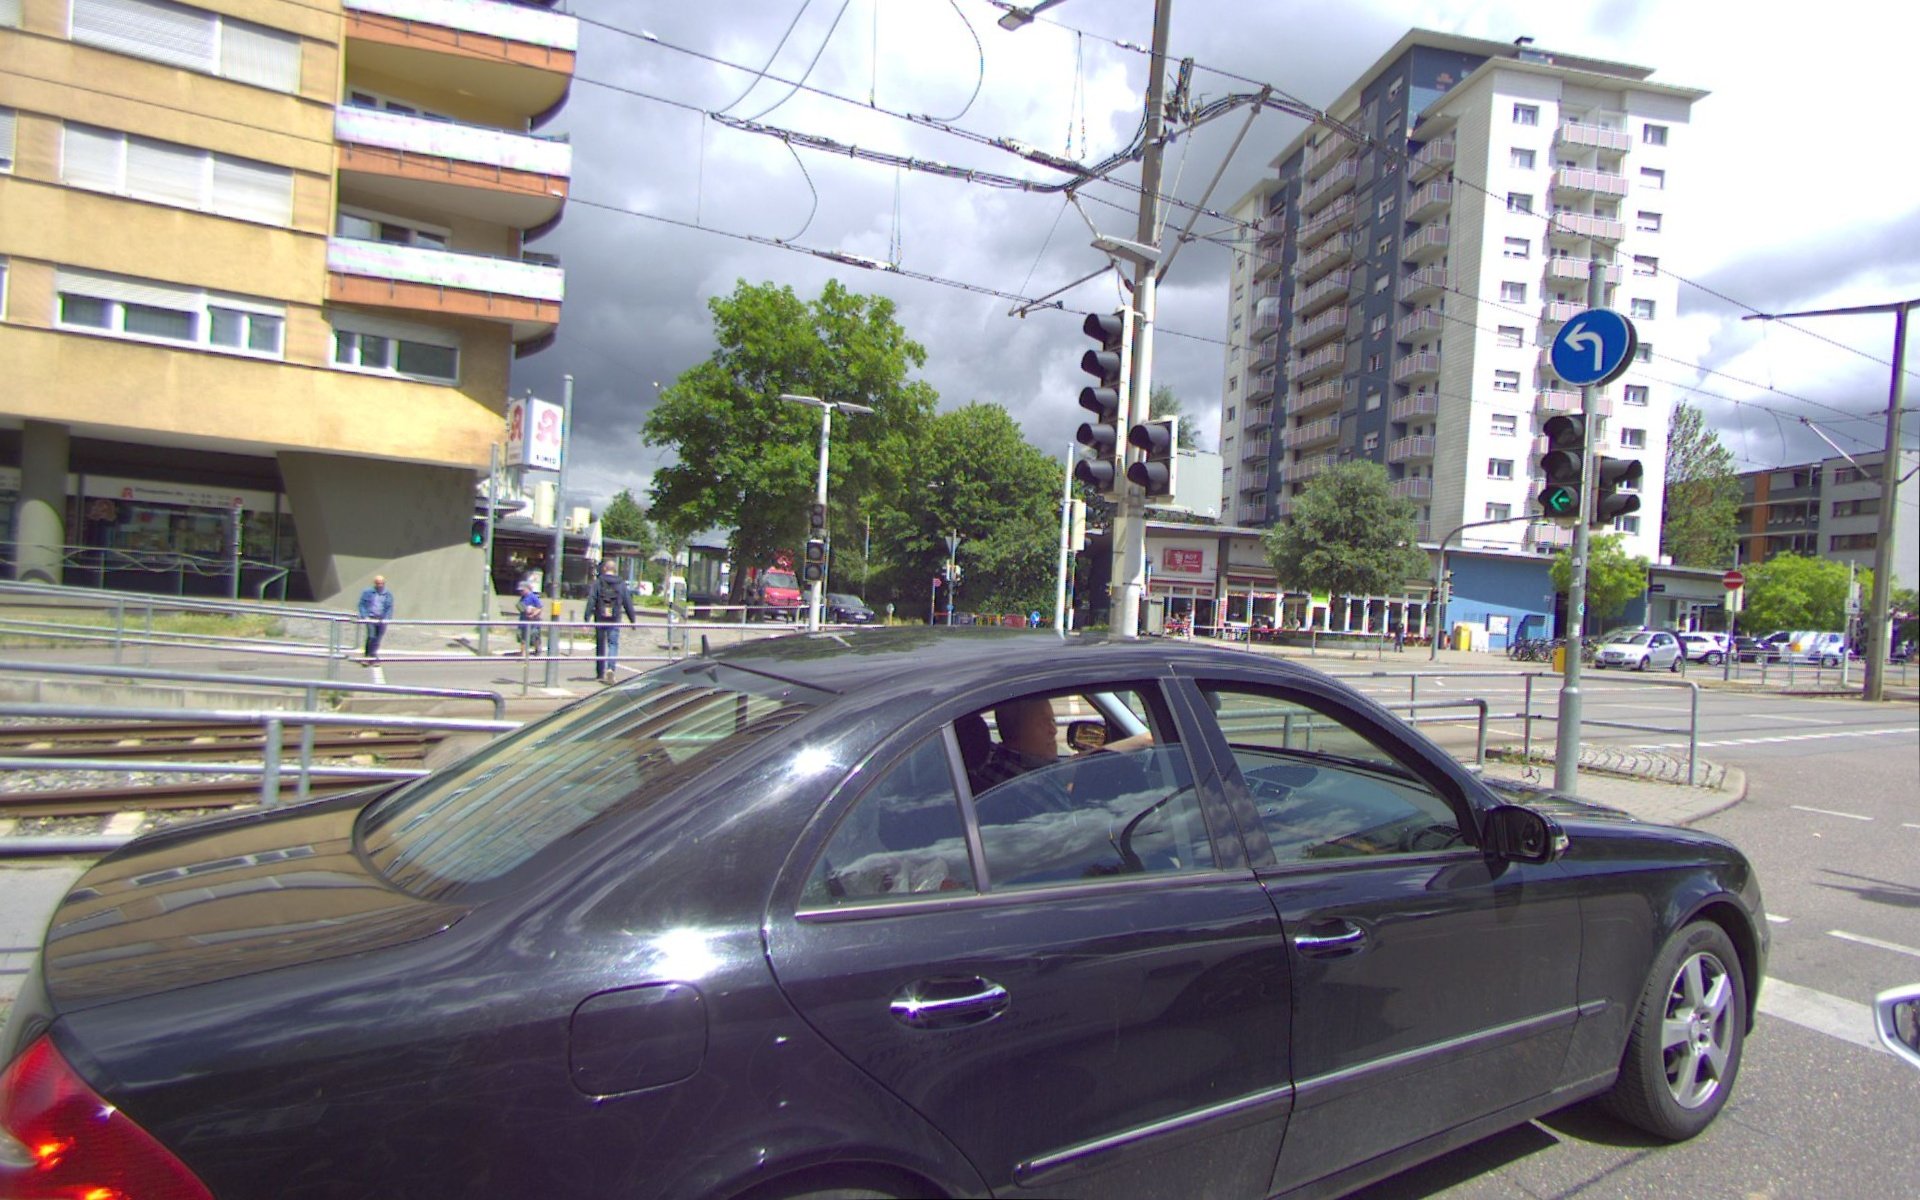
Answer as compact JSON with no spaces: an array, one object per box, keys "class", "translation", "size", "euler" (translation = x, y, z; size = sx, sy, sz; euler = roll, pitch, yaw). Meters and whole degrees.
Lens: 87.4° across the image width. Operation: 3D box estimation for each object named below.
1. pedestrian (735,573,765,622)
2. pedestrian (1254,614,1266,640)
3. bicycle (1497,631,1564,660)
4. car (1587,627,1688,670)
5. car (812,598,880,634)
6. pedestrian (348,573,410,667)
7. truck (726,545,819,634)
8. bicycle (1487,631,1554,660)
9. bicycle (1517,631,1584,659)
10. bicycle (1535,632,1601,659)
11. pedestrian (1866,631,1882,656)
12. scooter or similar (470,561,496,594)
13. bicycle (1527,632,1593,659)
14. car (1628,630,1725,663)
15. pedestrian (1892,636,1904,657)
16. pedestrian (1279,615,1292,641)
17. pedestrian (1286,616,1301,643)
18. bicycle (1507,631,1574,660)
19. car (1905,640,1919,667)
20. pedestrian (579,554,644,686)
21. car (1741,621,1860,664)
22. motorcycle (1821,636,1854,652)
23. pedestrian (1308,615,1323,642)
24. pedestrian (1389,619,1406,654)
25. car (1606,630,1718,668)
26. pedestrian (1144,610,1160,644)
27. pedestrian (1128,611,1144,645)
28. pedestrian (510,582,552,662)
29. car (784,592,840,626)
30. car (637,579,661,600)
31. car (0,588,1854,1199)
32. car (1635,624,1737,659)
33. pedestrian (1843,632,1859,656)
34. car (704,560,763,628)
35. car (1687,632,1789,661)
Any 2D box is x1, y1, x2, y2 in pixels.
[{"class":"pedestrian","translation":[-8.024,-0.108,38.375],"size":[0.873,1.835,0.641],"euler":[2,0,33]},{"class":"pedestrian","translation":[17.348,1.559,58.093],"size":[0.515,1.492,0.572],"euler":[2,0,1]},{"class":"bicycle","translation":[24.051,1.900,42.404],"size":[0.697,1.080,2.415],"euler":[2,0,-30]},{"class":"car","translation":[26.841,1.917,39.795],"size":[3.708,1.553,1.811],"euler":[2,0,-28]},{"class":"car","translation":[-5.306,0.721,46.174],"size":[1.972,1.514,3.976],"euler":[2,0,-24]},{"class":"pedestrian","translation":[-10.679,0.363,18.449],"size":[0.902,1.619,0.714],"euler":[2,5,-34]},{"class":"truck","translation":[-8.805,-0.460,46.509],"size":[2.512,3.723,7.057],"euler":[2,0,-24]},{"class":"bicycle","translation":[23.431,1.878,42.033],"size":[0.697,1.080,2.415],"euler":[2,0,-30]},{"class":"bicycle","translation":[25.443,1.948,43.322],"size":[0.697,1.080,2.415],"euler":[2,0,-30]},{"class":"bicycle","translation":[26.698,1.992,44.139],"size":[0.697,1.080,2.415],"euler":[2,0,-30]},{"class":"pedestrian","translation":[65.560,3.113,72.026],"size":[0.834,1.816,0.607],"euler":[2,0,-33]},{"class":"scooter or similar","translation":[-16.772,-0.780,35.295],"size":[0.540,1.108,1.736],"euler":[2,0,-34]},{"class":"bicycle","translation":[26.072,1.970,43.717],"size":[0.697,1.080,2.415],"euler":[2,0,-30]},{"class":"car","translation":[36.732,2.358,51.595],"size":[3.691,1.516,1.747],"euler":[2,0,18]},{"class":"pedestrian","translation":[70.477,3.487,75.455],"size":[0.490,1.479,0.559],"euler":[2,0,30]},{"class":"pedestrian","translation":[18.888,1.621,58.269],"size":[0.516,1.492,0.572],"euler":[2,0,-2]},{"class":"pedestrian","translation":[18.864,1.657,56.866],"size":[0.565,1.492,0.522],"euler":[2,0,-28]},{"class":"bicycle","translation":[24.725,1.923,42.816],"size":[0.697,1.080,2.415],"euler":[2,0,-30]},{"class":"car","translation":[64.162,3.570,66.140],"size":[4.058,1.685,1.980],"euler":[2,2,-35]},{"class":"pedestrian","translation":[-5.356,0.303,15.433],"size":[0.841,1.960,0.916],"euler":[2,0,-23]},{"class":"car","translation":[47.014,2.345,56.314],"size":[4.666,2.185,1.907],"euler":[2,0,17]},{"class":"motorcycle","translation":[70.980,3.568,81.229],"size":[0.734,1.194,1.880],"euler":[2,0,-34]},{"class":"pedestrian","translation":[20.175,1.638,57.053],"size":[0.565,1.492,0.522],"euler":[2,0,-28]},{"class":"pedestrian","translation":[20.940,1.754,48.075],"size":[0.594,1.665,0.414],"euler":[2,0,-34]},{"class":"car","translation":[33.857,2.330,48.541],"size":[3.919,1.612,1.934],"euler":[2,0,11]},{"class":"pedestrian","translation":[8.405,1.173,43.919],"size":[0.516,1.492,0.518],"euler":[2,0,-5]},{"class":"pedestrian","translation":[7.803,1.250,44.491],"size":[0.516,1.492,0.572],"euler":[2,0,-5]},{"class":"pedestrian","translation":[-8.528,0.433,19.965],"size":[0.641,1.534,0.715],"euler":[2,2,-30]},{"class":"car","translation":[-7.778,0.450,52.561],"size":[1.971,1.623,3.979],"euler":[2,0,-22]},{"class":"car","translation":[-33.426,-1.111,107.929],"size":[1.971,2.124,4.712],"euler":[2,0,-22]},{"class":"car","translation":[0.322,0.758,2.884],"size":[4.619,1.417,1.962],"euler":[2,0,-29]},{"class":"car","translation":[38.630,2.209,53.557],"size":[3.919,1.654,1.907],"euler":[2,0,12]},{"class":"pedestrian","translation":[61.933,3.038,69.798],"size":[0.654,1.594,0.687],"euler":[2,0,30]},{"class":"car","translation":[-12.090,-0.319,53.272],"size":[1.971,3.343,6.270],"euler":[2,0,-22]},{"class":"car","translation":[42.564,2.531,55.049],"size":[3.920,1.402,1.907],"euler":[2,0,17]}]
